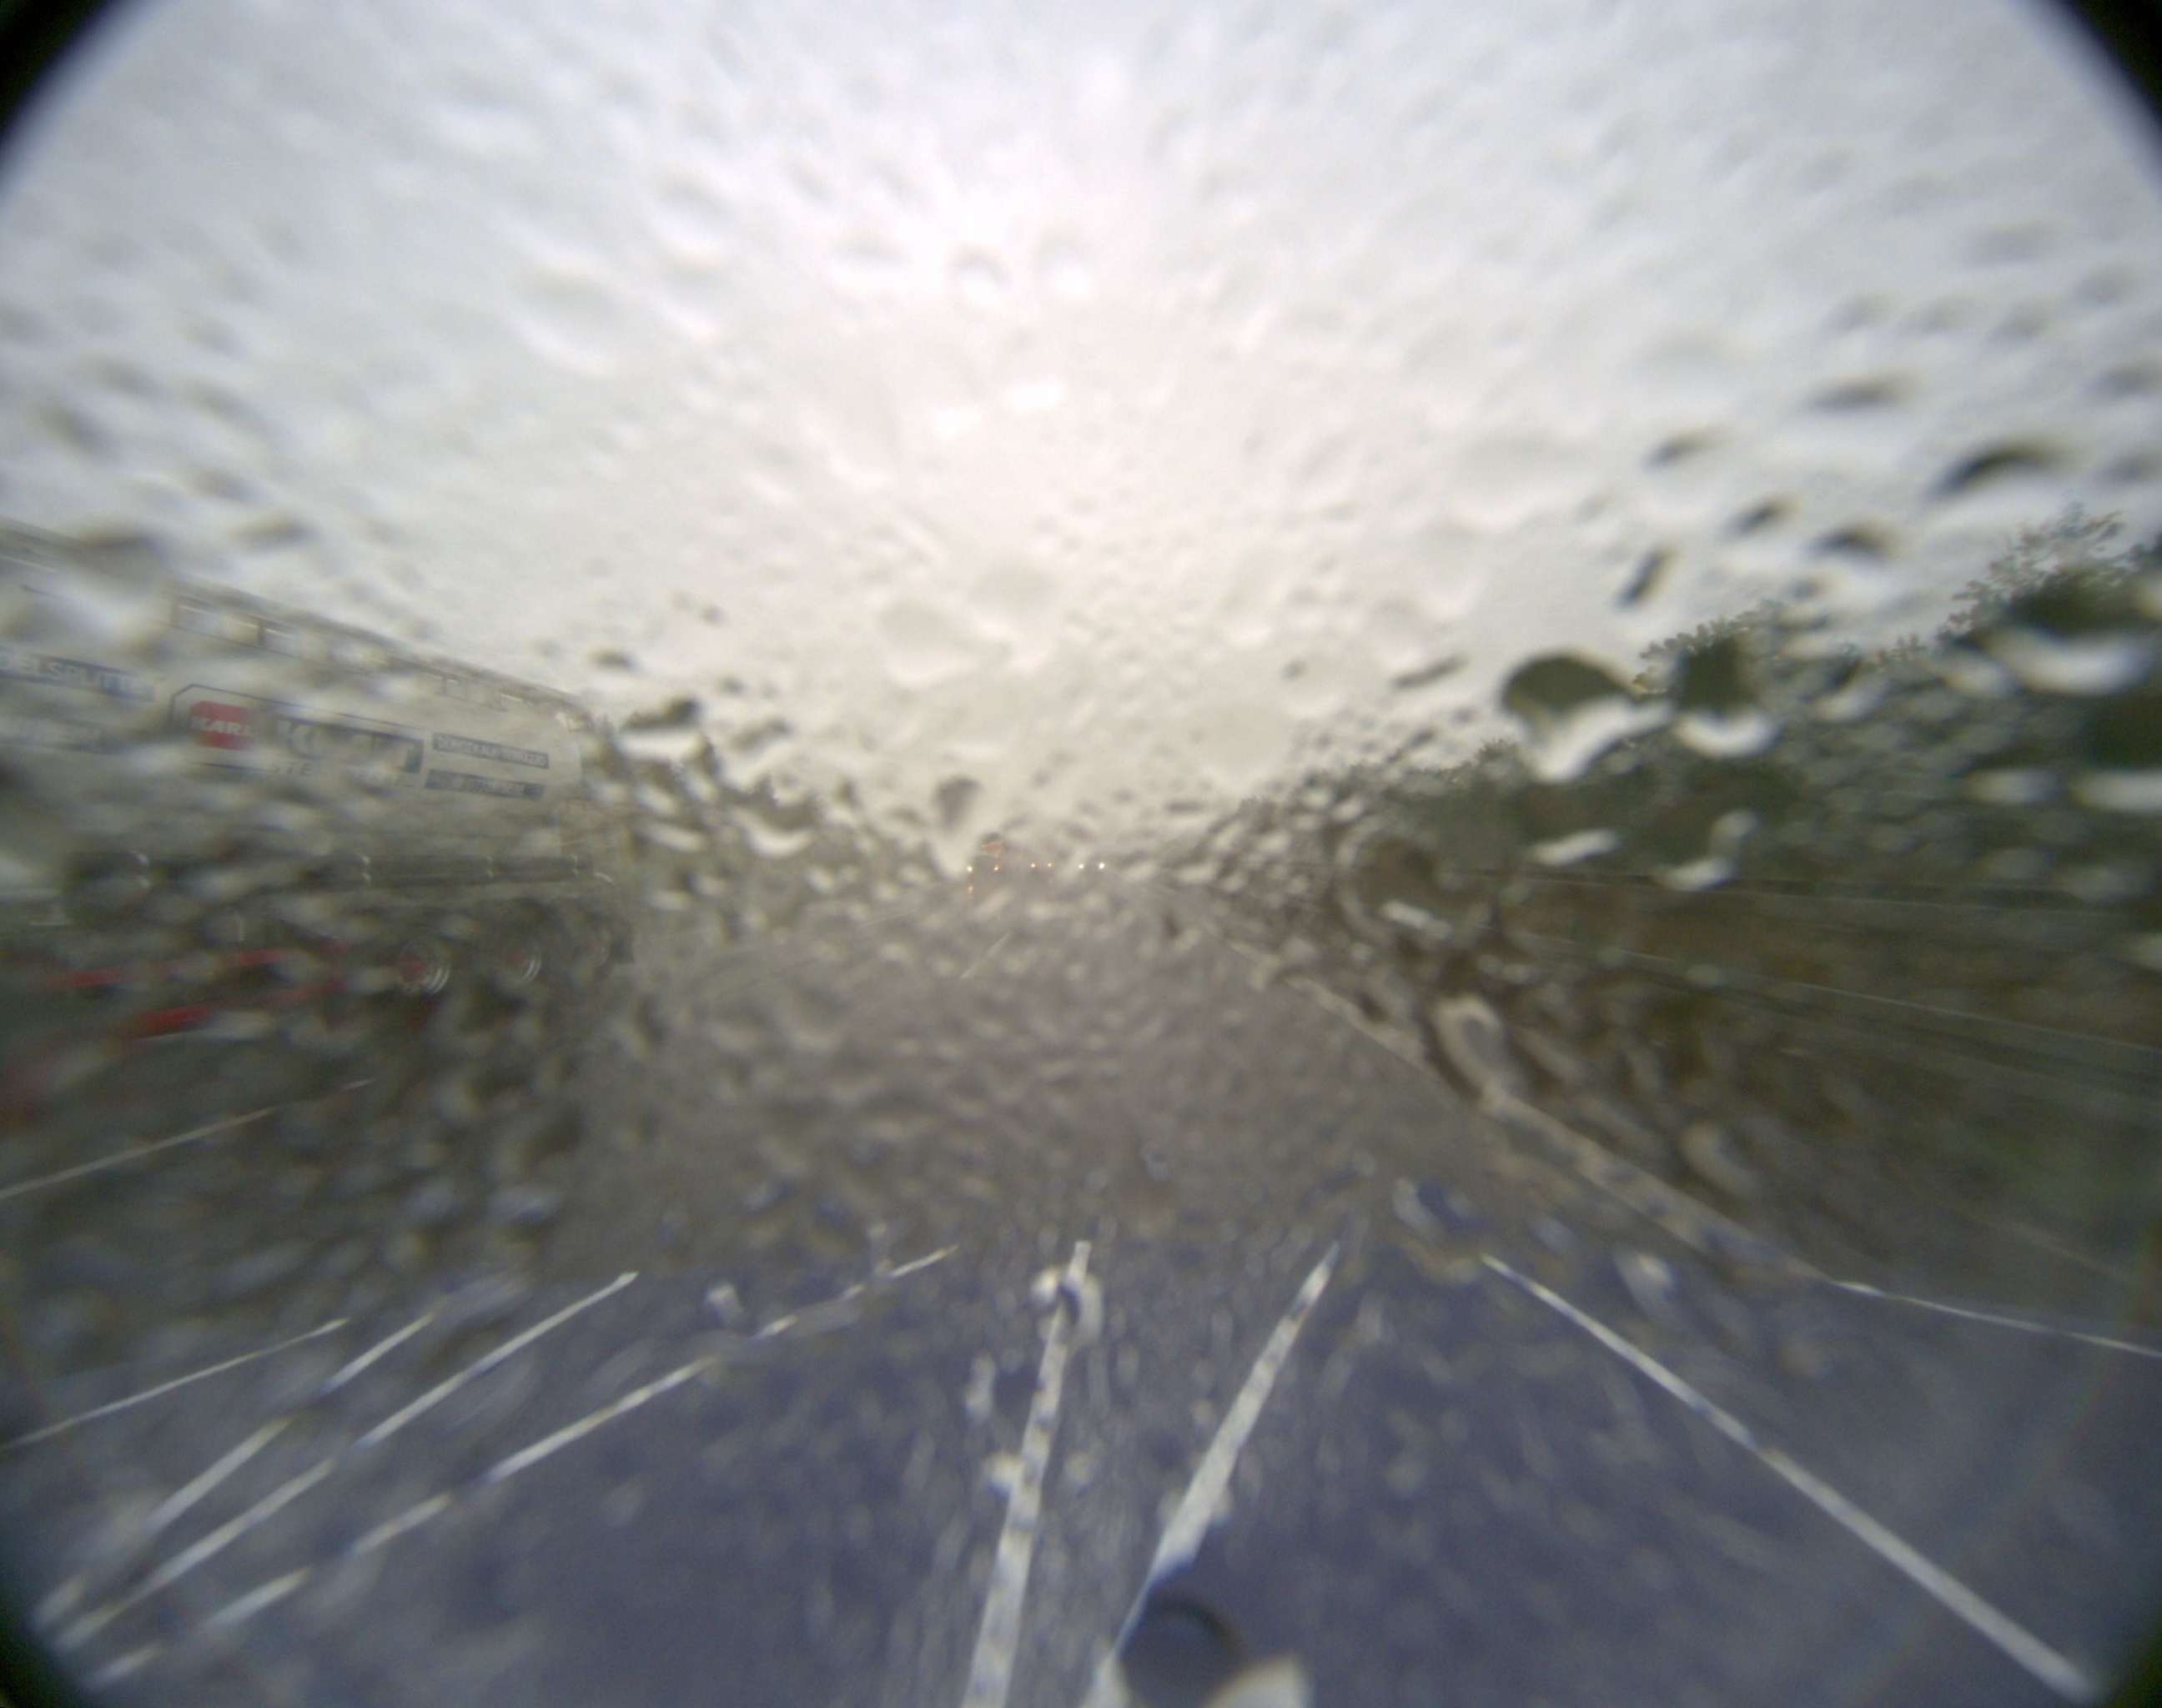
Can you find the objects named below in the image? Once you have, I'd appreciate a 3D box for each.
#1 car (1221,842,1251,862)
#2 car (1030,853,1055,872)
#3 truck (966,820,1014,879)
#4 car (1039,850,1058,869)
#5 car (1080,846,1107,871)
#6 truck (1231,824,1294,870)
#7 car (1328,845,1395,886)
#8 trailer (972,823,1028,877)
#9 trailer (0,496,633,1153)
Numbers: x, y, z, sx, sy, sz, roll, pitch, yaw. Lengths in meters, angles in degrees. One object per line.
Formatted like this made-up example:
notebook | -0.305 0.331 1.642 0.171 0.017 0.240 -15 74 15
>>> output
car | 16.102 -0.174 79.162 1.999 1.973 5.015 -2 0 0
car | -3.124 0.690 62.196 1.663 1.491 3.837 -2 0 1
truck | -6.453 -0.281 54.914 2.457 3.866 6.200 -2 0 1
car | -2.856 0.512 67.859 1.517 1.606 3.186 -2 0 0
car | 0.870 0.351 55.308 1.845 1.671 4.000 -2 0 0
truck | 20.543 -0.683 87.465 2.973 4.647 17.099 -2 0 0
car | 15.963 0.642 43.553 2.038 2.160 4.665 -2 0 0
trailer | -6.358 -0.196 62.678 2.486 3.743 16.546 -2 0 1
trailer | -7.586 -0.142 5.045 2.503 3.859 11.067 -2 0 0
